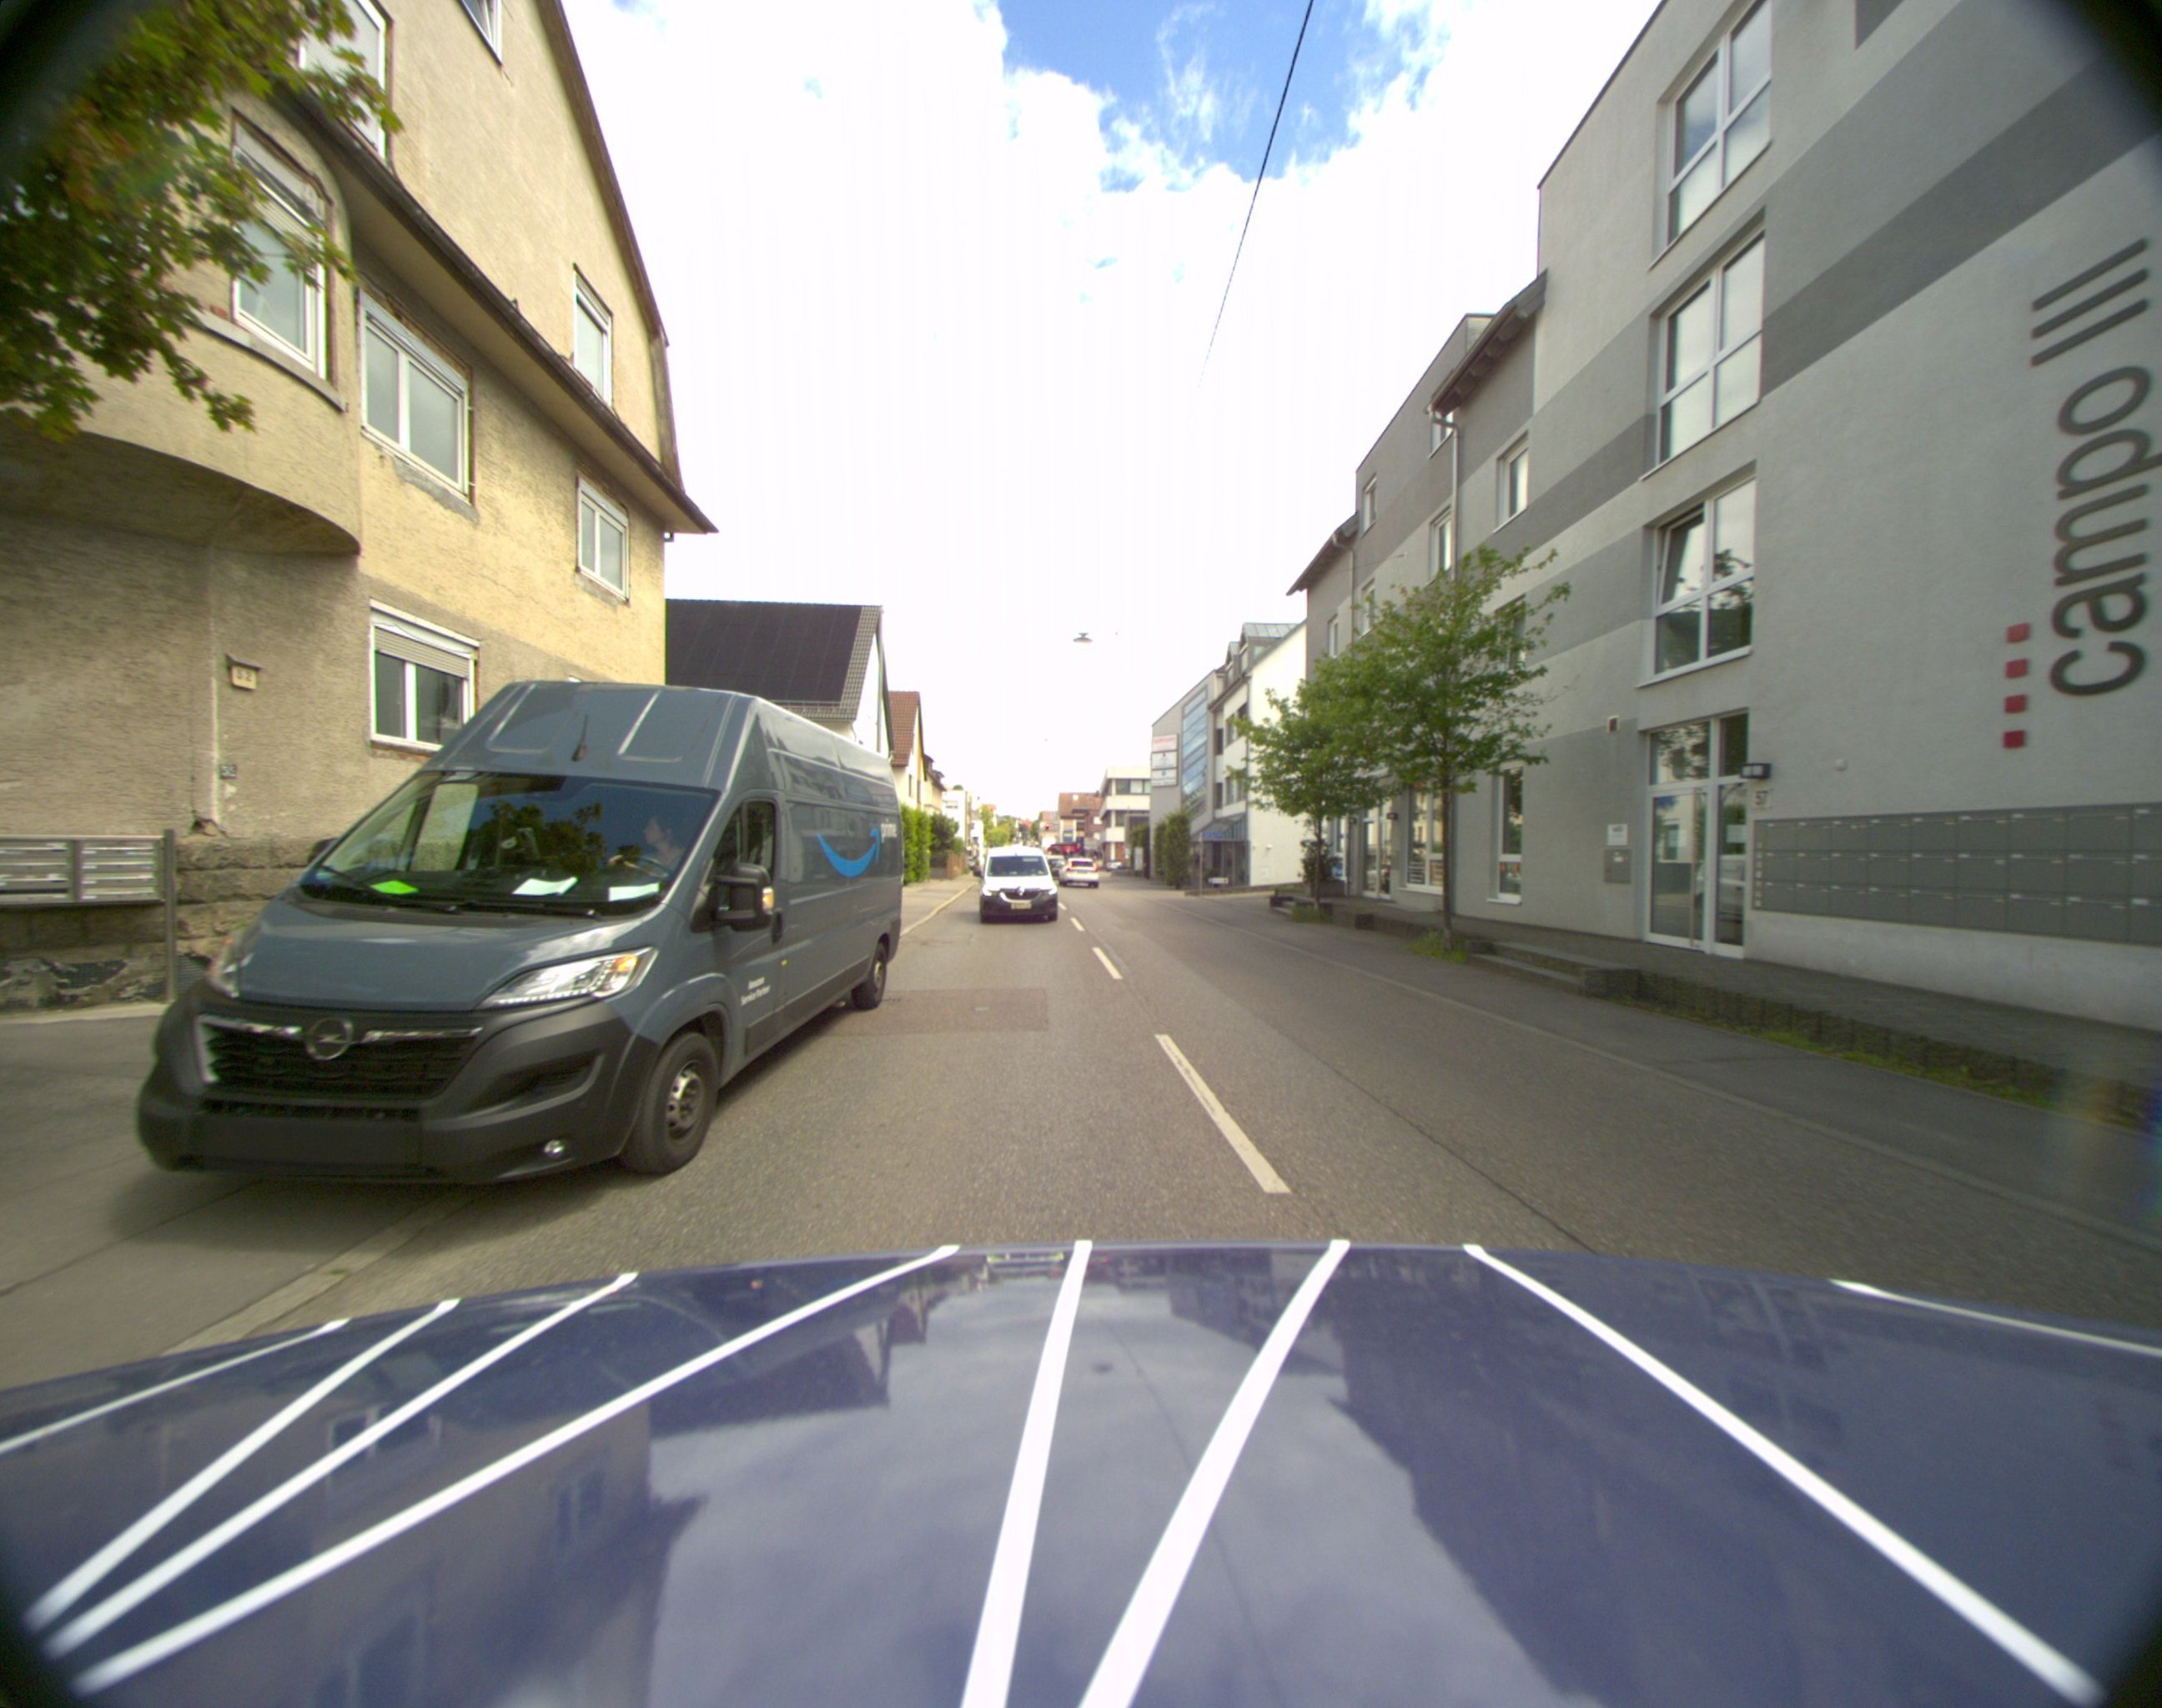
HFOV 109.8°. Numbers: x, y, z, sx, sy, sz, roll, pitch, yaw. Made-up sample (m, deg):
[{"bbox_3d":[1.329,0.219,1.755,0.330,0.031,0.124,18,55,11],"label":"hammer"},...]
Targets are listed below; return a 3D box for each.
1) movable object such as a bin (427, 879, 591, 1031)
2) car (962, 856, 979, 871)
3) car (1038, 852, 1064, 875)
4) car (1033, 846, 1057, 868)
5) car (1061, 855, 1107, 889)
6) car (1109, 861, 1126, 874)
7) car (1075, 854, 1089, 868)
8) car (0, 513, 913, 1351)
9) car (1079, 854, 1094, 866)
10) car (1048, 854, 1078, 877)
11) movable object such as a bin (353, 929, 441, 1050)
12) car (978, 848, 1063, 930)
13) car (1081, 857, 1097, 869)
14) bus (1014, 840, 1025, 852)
[{"bbox_3d":[-5.482,0.900,7.382,1.188,1.258,1.206,0,0,-34],"label":"movable object such as a bin"},{"bbox_3d":[-11.608,0.983,79.906,1.657,1.413,3.997,1,0,-7],"label":"car"},{"bbox_3d":[-2.536,0.744,63.753,1.992,1.727,4.794,3,0,-4],"label":"car"},{"bbox_3d":[-3.658,0.282,76.933,2.117,2.139,4.880,2,0,-6],"label":"car"},{"bbox_3d":[0.092,0.895,39.676,1.903,1.550,4.798,3,0,-4],"label":"car"},{"bbox_3d":[4.057,1.446,83.813,1.824,1.321,4.236,0,1,3],"label":"car"},{"bbox_3d":[0.202,0.941,104.666,1.702,1.766,4.461,0,1,3],"label":"car"},{"bbox_3d":[-3.005,0.267,5.621,2.153,2.754,6.249,0,0,0],"label":"car"},{"bbox_3d":[0.757,0.717,99.579,1.809,1.521,4.000,0,1,3],"label":"car"},{"bbox_3d":[-1.305,0.796,54.479,1.837,1.575,4.035,2,0,-5],"label":"car"},{"bbox_3d":[-5.582,1.102,6.211,0.410,0.933,0.273,4,0,-14],"label":"movable object such as a bin"},{"bbox_3d":[-1.641,0.772,19.358,1.872,1.805,5.003,0,0,-7],"label":"car"},{"bbox_3d":[0.944,1.106,92.877,1.840,1.418,4.218,0,1,-1],"label":"car"},{"bbox_3d":[-17.639,-2.306,217.826,3.135,3.239,9.745,0,1,-6],"label":"bus"}]
